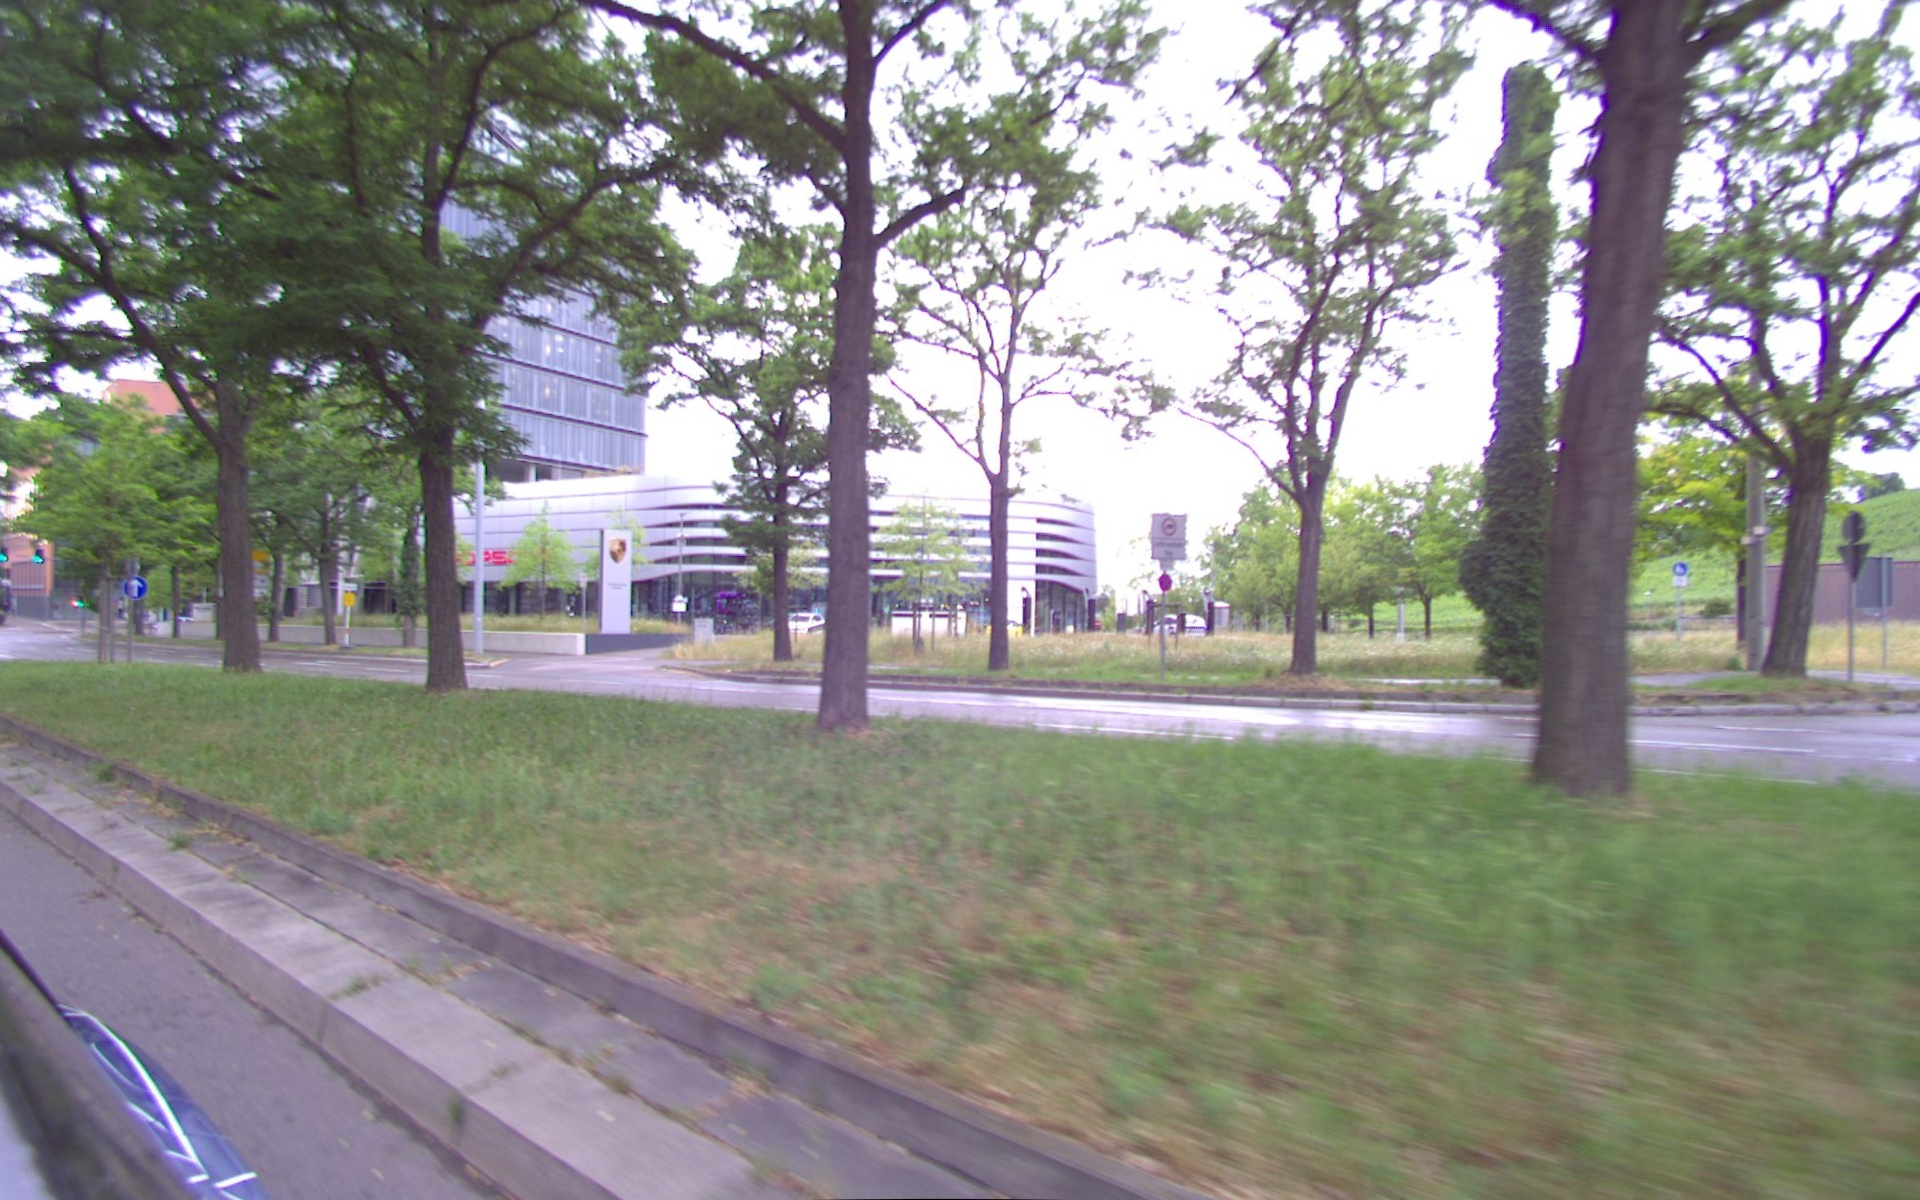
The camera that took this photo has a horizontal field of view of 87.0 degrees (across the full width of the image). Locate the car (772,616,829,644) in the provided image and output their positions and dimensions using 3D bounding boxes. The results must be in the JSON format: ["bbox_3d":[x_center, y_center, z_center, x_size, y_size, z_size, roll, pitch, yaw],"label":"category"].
[{"bbox_3d":[-9.052,1.704,57.829,1.762,1.423,3.980,-1,1,15],"label":"car"}]

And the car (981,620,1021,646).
[{"bbox_3d":[2.478,1.941,60.633,1.605,1.334,3.982,-1,1,14],"label":"car"}]

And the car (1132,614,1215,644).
[{"bbox_3d":[10.138,1.337,48.266,1.592,1.254,4.012,-1,1,-30],"label":"car"}]
